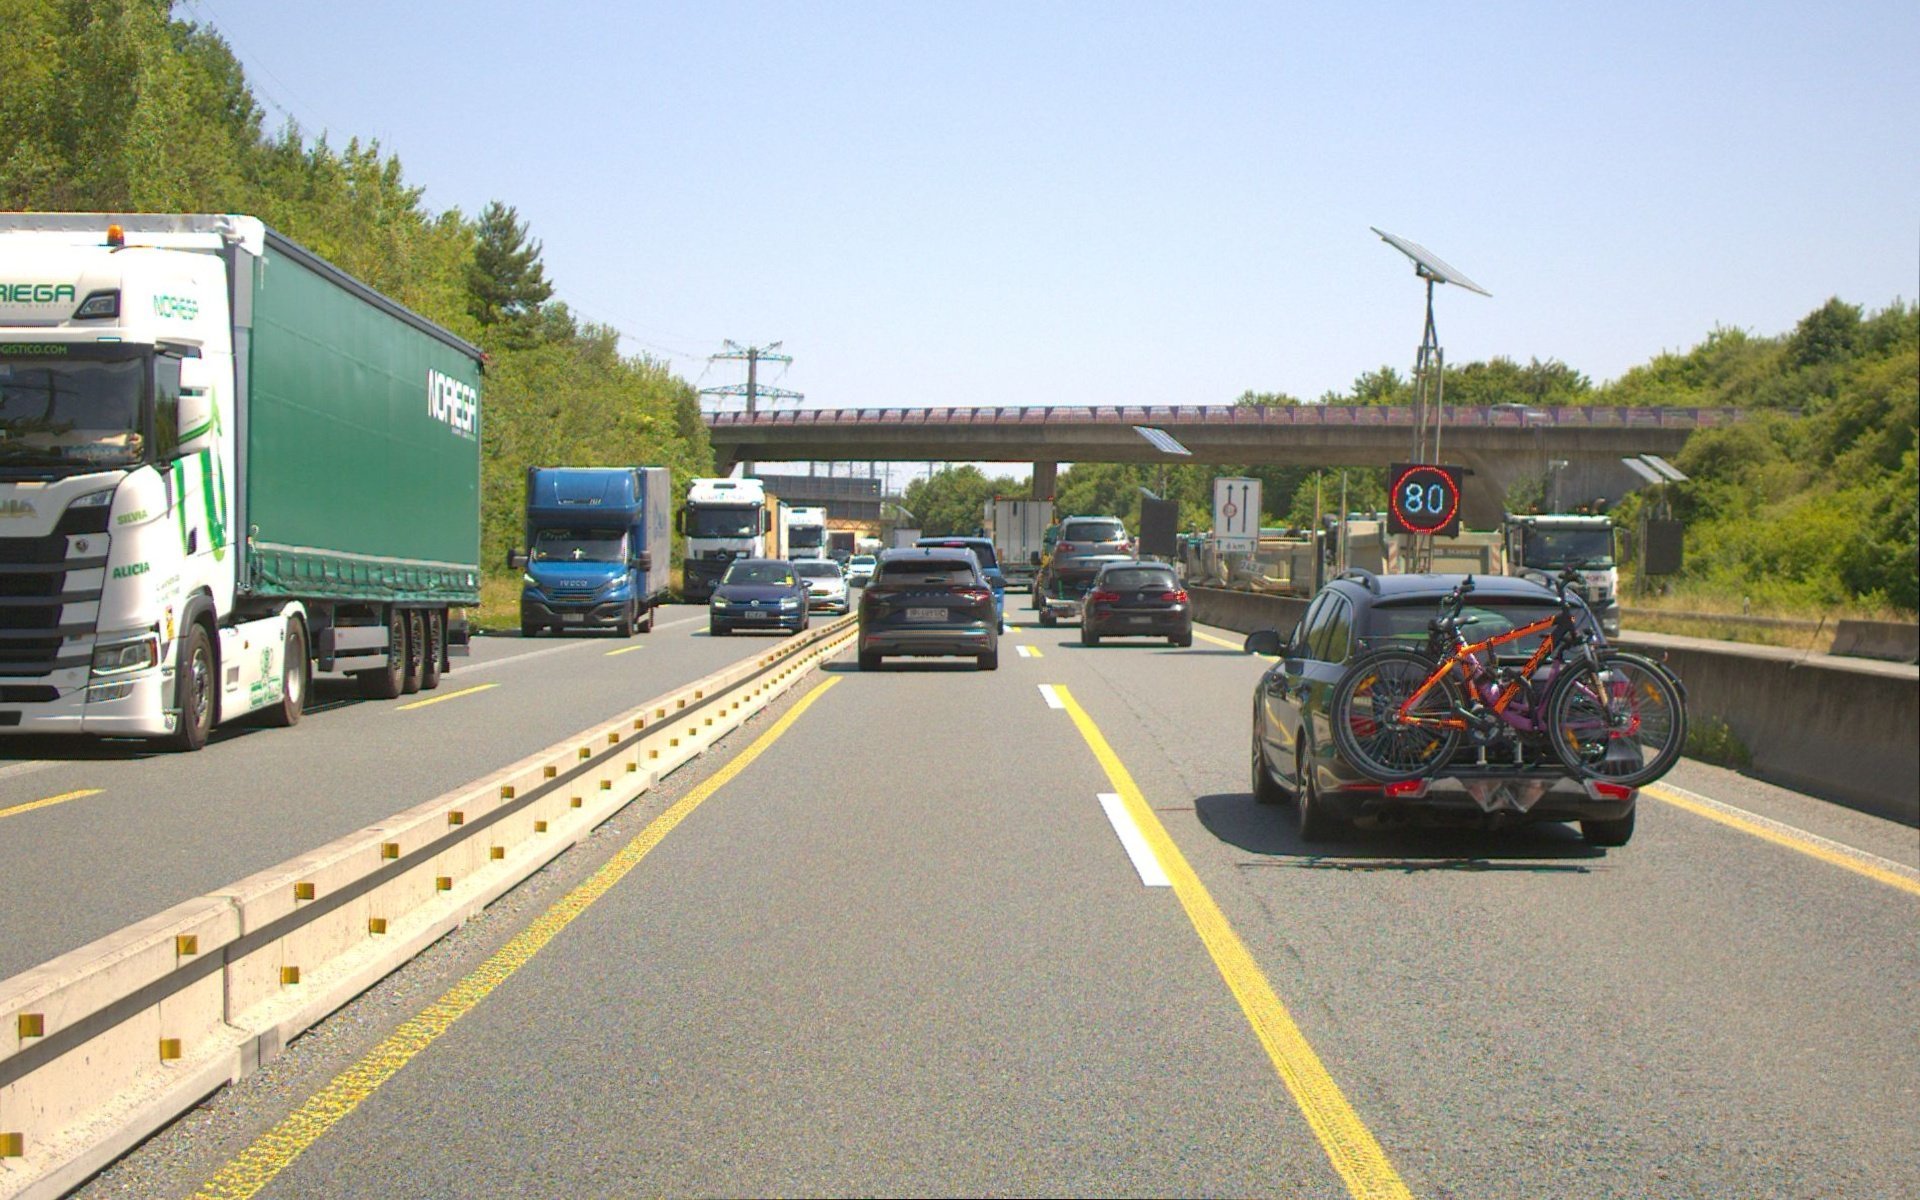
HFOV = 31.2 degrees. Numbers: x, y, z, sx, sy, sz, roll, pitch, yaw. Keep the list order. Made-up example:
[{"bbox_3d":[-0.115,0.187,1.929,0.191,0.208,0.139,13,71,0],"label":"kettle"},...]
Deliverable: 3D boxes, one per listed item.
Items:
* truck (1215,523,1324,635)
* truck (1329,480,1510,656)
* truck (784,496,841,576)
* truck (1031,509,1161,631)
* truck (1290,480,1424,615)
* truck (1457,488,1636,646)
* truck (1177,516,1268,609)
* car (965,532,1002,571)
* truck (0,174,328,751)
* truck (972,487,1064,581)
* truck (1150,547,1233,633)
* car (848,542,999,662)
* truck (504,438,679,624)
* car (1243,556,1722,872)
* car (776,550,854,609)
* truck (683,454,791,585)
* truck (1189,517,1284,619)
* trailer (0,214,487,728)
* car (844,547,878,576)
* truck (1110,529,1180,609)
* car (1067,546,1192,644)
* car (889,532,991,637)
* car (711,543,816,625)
[{"bbox_3d":[10.230,-0.728,114.351,2.687,3.545,9.603,1,1,0],"label":"truck"},{"bbox_3d":[9.707,-0.705,73.507,2.533,3.499,9.097,1,1,0],"label":"truck"},{"bbox_3d":[-7.636,-3.292,178.998,2.410,3.978,10.352,1,1,0],"label":"truck"},{"bbox_3d":[2.968,-0.715,76.966,2.405,2.549,7.501,1,1,-1],"label":"truck"},{"bbox_3d":[10.989,-1.462,96.017,2.538,3.545,9.603,1,1,0],"label":"truck"},{"bbox_3d":[13.733,-0.803,81.100,2.687,3.499,8.380,1,1,0],"label":"truck"},{"bbox_3d":[10.474,-1.526,137.977,2.687,3.545,9.326,1,1,-1],"label":"truck"},{"bbox_3d":[1.250,-2.541,180.748,1.899,1.962,4.276,1,1,1],"label":"car"},{"bbox_3d":[-7.045,-1.022,27.479,2.894,4.104,6.020,0,1,0],"label":"truck"},{"bbox_3d":[2.391,-2.775,146.181,3.292,3.832,10.111,1,1,-2],"label":"truck"},{"bbox_3d":[9.877,-0.499,147.279,2.687,3.545,9.326,1,1,-1],"label":"truck"},{"bbox_3d":[-0.445,0.006,45.834,1.899,1.500,4.276,1,1,1],"label":"car"},{"bbox_3d":[-6.945,-1.316,65.657,2.405,3.319,7.500,1,1,1],"label":"truck"},{"bbox_3d":[2.703,0.528,18.925,1.899,1.485,4.947,1,0,0],"label":"car"},{"bbox_3d":[-3.757,-0.528,89.561,1.841,1.485,4.511,-1,0,0],"label":"car"},{"bbox_3d":[-7.180,-2.589,111.940,2.649,3.978,9.650,2,1,1],"label":"truck"},{"bbox_3d":[10.026,-1.186,125.569,2.687,3.545,9.406,1,1,0],"label":"truck"},{"bbox_3d":[-7.082,-1.140,34.351,2.891,4.111,13.244,1,1,0],"label":"trailer"},{"bbox_3d":[-5.585,-2.172,194.573,1.824,1.625,4.151,1,0,-1],"label":"car"},{"bbox_3d":[8.841,-1.515,165.409,2.687,3.748,9.326,1,1,-1],"label":"truck"},{"bbox_3d":[2.847,-0.101,58.604,1.899,1.580,4.276,1,1,0],"label":"car"},{"bbox_3d":[-0.355,-0.323,67.240,1.899,1.962,4.276,1,1,1],"label":"car"},{"bbox_3d":[-3.748,-0.313,66.132,1.761,1.485,4.402,1,0,0],"label":"car"}]
